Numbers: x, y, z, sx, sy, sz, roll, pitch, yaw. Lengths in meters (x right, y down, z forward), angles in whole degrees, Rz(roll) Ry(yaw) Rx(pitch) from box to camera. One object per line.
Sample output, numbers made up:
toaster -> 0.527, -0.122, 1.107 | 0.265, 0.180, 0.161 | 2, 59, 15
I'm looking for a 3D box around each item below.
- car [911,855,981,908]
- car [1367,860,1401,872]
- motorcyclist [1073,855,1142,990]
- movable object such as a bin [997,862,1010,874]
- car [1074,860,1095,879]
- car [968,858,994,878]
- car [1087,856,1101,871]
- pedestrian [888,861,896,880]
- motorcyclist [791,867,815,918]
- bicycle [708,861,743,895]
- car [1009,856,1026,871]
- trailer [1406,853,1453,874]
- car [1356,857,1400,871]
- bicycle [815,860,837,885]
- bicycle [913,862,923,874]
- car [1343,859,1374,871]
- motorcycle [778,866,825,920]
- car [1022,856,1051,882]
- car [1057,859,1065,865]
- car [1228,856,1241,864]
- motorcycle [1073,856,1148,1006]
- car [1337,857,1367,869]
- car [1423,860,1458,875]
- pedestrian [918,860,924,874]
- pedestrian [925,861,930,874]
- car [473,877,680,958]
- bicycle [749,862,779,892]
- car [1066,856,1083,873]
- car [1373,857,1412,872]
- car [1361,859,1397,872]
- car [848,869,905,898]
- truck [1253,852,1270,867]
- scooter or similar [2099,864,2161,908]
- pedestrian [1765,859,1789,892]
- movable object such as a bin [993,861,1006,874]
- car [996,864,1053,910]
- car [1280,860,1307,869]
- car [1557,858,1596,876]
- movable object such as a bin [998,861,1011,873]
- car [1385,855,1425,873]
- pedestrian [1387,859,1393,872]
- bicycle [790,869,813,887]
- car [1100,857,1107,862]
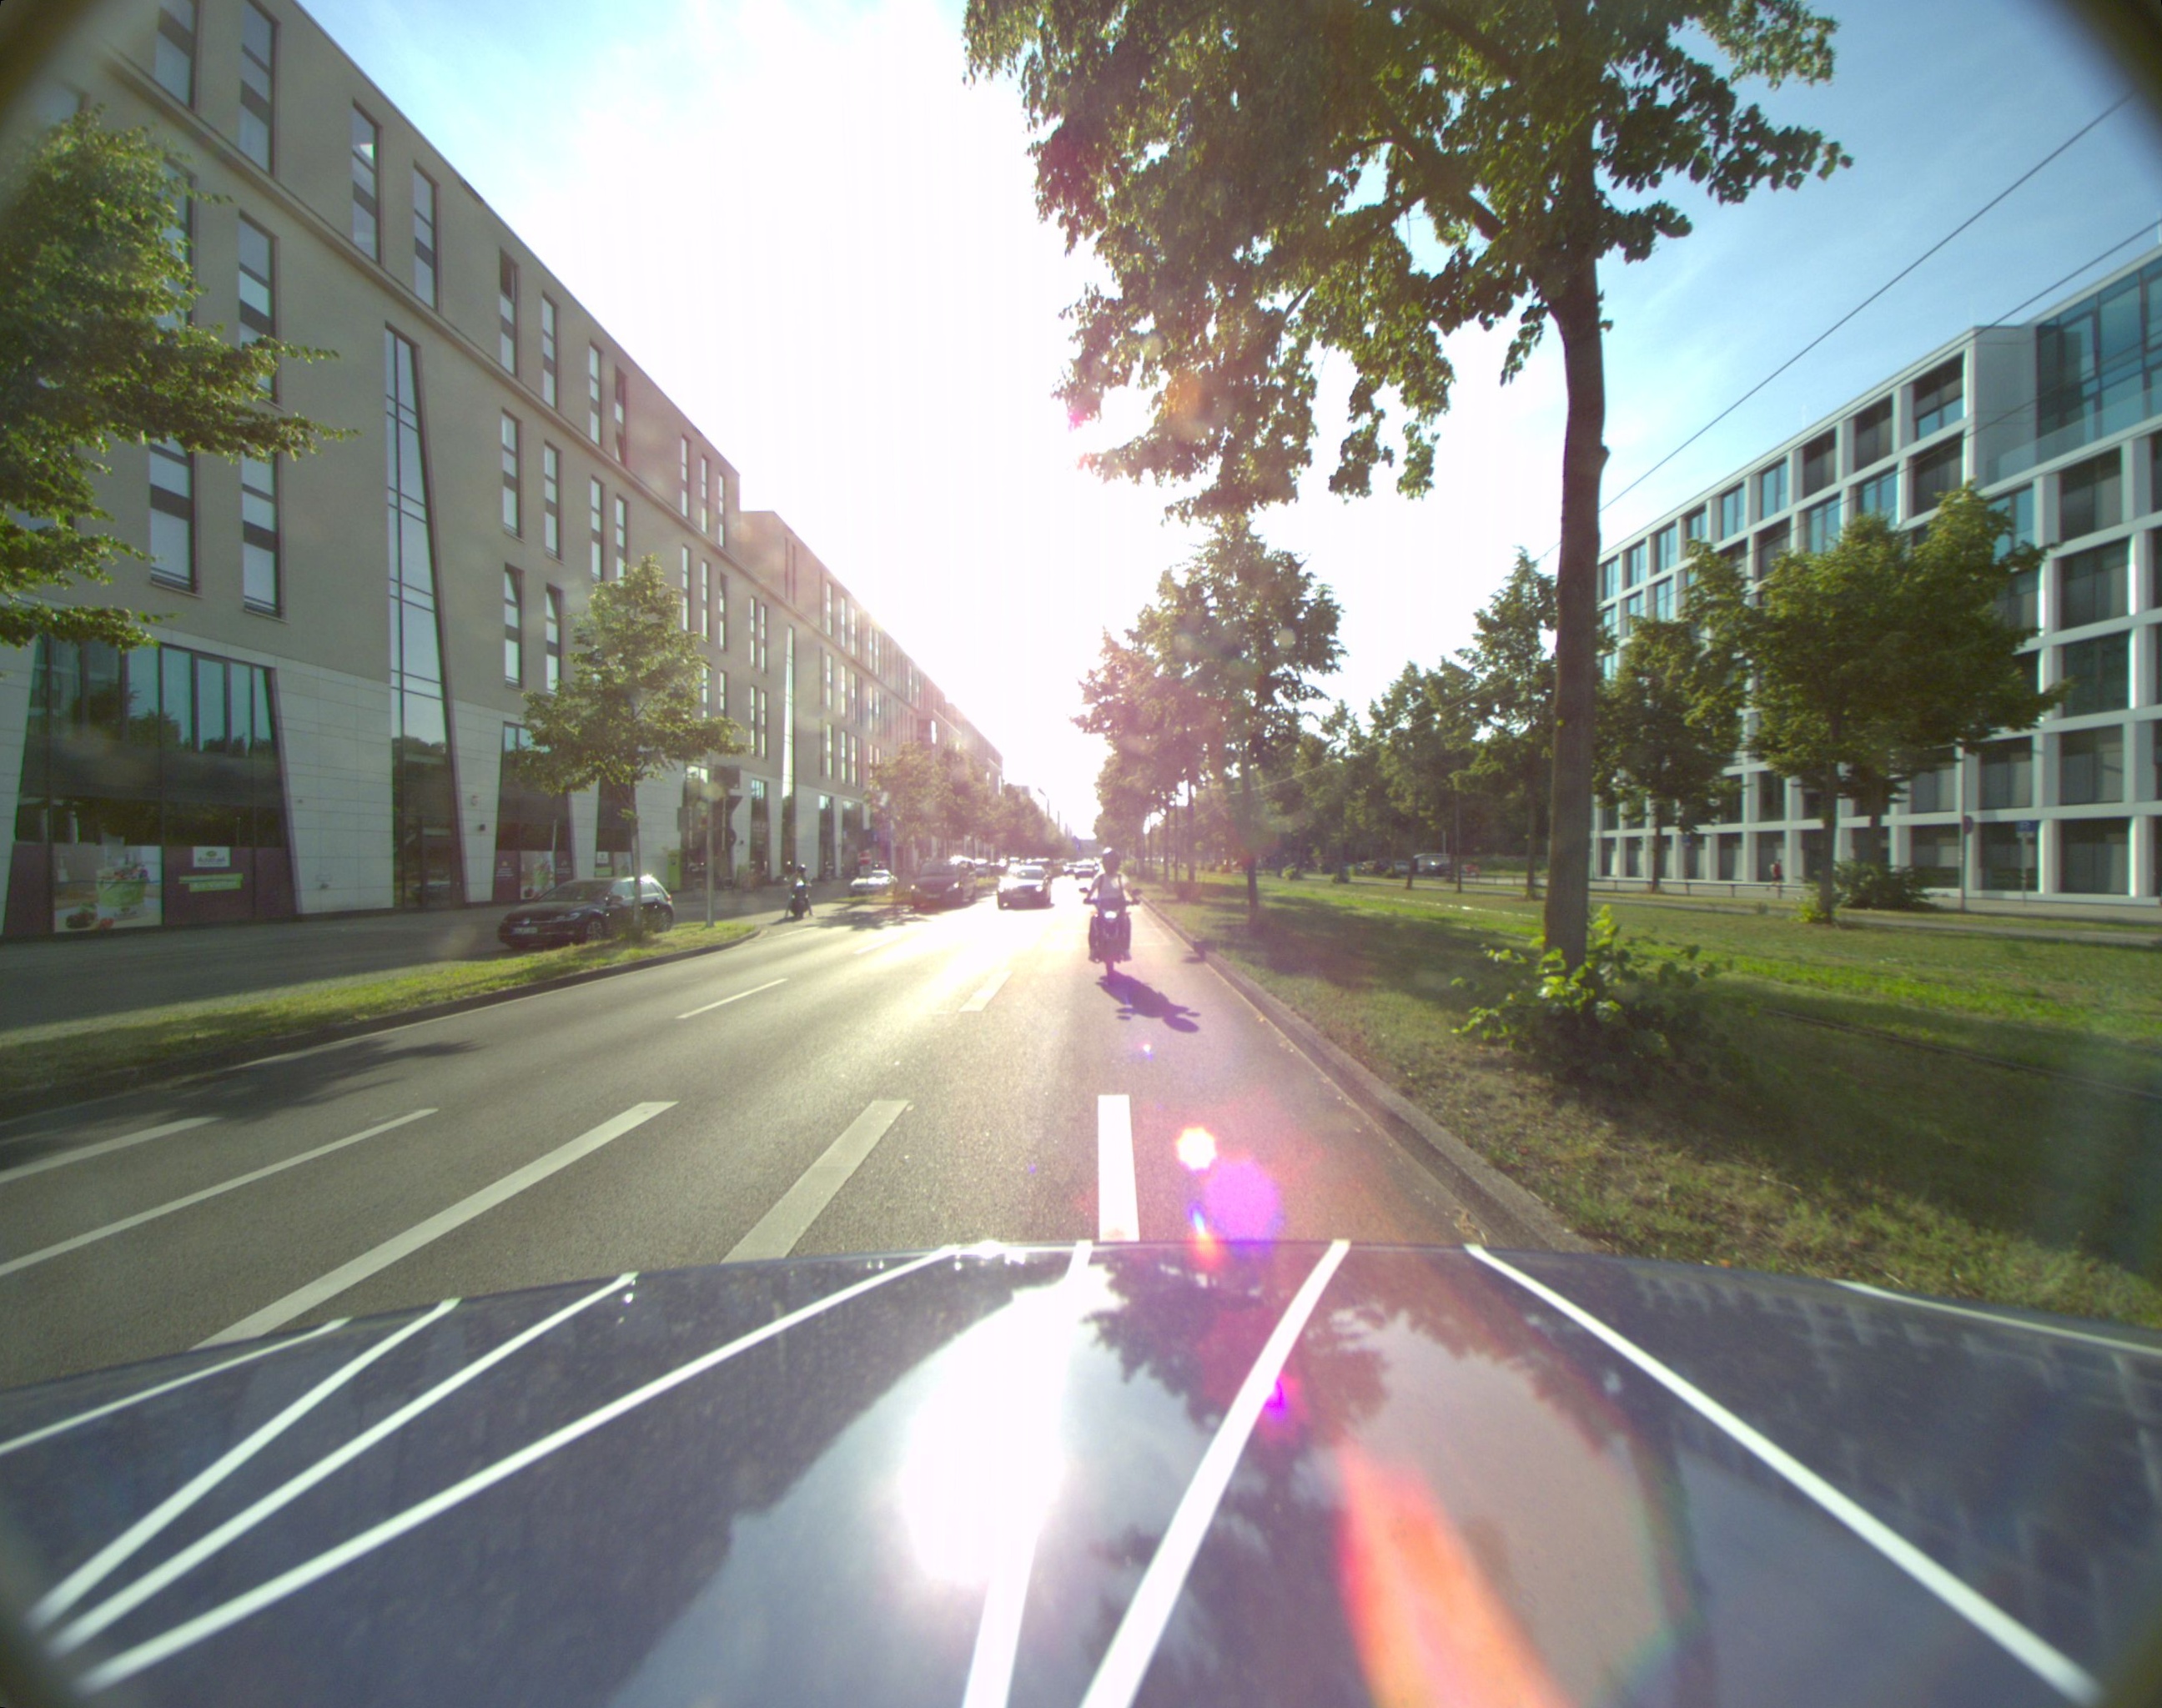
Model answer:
car -> -5.357, 1.031, 30.801 | 1.803, 1.880, 4.821 | -2, 0, 1
car -> 38.192, 1.494, 95.784 | 3.576, 1.417, 1.726 | -2, 1, 2
motorcyclist -> 0.343, 0.880, 10.132 | 0.814, 1.699, 0.843 | -2, 1, 0
movable object such as a bin -> -8.332, 1.515, 81.614 | 1.280, 1.229, 1.191 | -2, 1, -2
car -> 0.362, 1.355, 67.741 | 1.739, 1.499, 4.000 | -2, 0, 1
car -> -9.366, 1.262, 71.268 | 1.832, 1.701, 4.295 | -2, 0, 0
car -> 1.551, 1.121, 91.089 | 1.644, 1.553, 3.734 | -2, 0, 0
pedestrian -> -17.708, 1.558, 71.270 | 0.538, 1.752, 0.646 | -2, 1, 2
motorcyclist -> -8.977, 1.235, 24.514 | 0.625, 1.631, 0.417 | 0, 1, -2
bicycle -> -17.703, 1.179, 37.893 | 0.557, 1.562, 2.276 | -2, 1, 2
car -> -8.559, 1.211, 102.753 | 1.842, 1.865, 5.030 | -2, 0, -1
trailer -> 38.337, 1.051, 83.713 | 4.373, 2.042, 1.758 | -2, 1, 5
car -> 39.880, 1.319, 102.159 | 5.071, 1.725, 1.886 | -2, 1, 4
bicycle -> -17.336, 1.253, 51.712 | 0.557, 1.609, 2.212 | -2, 1, 2
bicycle -> -16.441, 1.386, 76.643 | 0.493, 1.109, 1.945 | 0, 1, 2
car -> 38.408, 1.500, 105.142 | 3.655, 1.420, 1.810 | -2, 1, 4
motorcycle -> -8.982, 1.230, 24.489 | 0.703, 1.608, 2.011 | -2, 1, -1
car -> -3.426, 1.116, 59.635 | 1.864, 1.856, 4.778 | -2, 0, 1
car -> -5.552, 2.210, 211.164 | 1.840, 1.521, 4.328 | -2, 0, 1
car -> 30.651, 1.216, 151.485 | 1.834, 1.423, 4.475 | -2, 0, 3
motorcycle -> 0.348, 0.886, 9.980 | 0.798, 1.659, 2.634 | -2, 1, 1
car -> 40.032, 1.327, 112.199 | 3.865, 1.477, 1.745 | -2, 1, 9
car -> 37.714, 1.415, 79.801 | 1.683, 1.385, 3.761 | -2, 0, -2
pedestrian -> -18.564, 1.508, 88.383 | 0.515, 1.513, 0.597 | -2, 1, 1
pedestrian -> -17.912, 1.589, 88.642 | 0.540, 1.565, 0.514 | -2, 1, -13
car -> -10.959, 1.308, 16.914 | 1.610, 1.362, 4.158 | -2, 0, 3
bicycle -> -17.308, 1.232, 41.491 | 0.557, 1.558, 2.212 | -2, 1, 2
car -> -0.764, 1.175, 86.516 | 1.777, 1.805, 4.000 | -2, 0, 0
car -> 37.940, 1.328, 92.608 | 4.001, 1.633, 1.758 | -2, 1, 2
car -> 39.197, 1.463, 99.903 | 3.996, 1.551, 1.856 | -2, 1, 4
car -> -10.275, 1.447, 38.397 | 1.712, 1.235, 3.905 | -2, 0, 1
truck -> 43.584, 1.227, 183.818 | 2.894, 3.495, 7.947 | -2, 0, 6
scooter or similar -> 36.928, 1.125, 26.547 | 1.933, 1.468, 0.415 | -2, 1, 5
pedestrian -> 37.119, 1.147, 40.527 | 0.569, 1.718, 0.691 | -2, 1, 1
movable object such as a bin -> -8.591, 1.399, 80.002 | 1.280, 1.284, 1.178 | -2, 1, -2
car -> -2.020, 1.162, 28.191 | 1.756, 1.427, 4.035 | -2, 0, 0
car -> 32.743, 1.618, 117.248 | 1.689, 1.427, 4.027 | -2, 1, -27
car -> 48.638, 1.228, 74.615 | 1.851, 1.586, 4.003 | -2, 0, 12
movable object such as a bin -> -8.366, 1.446, 82.951 | 1.280, 1.229, 1.191 | -2, 1, -2
car -> 38.186, 1.162, 89.572 | 4.001, 1.936, 1.758 | -2, 1, 2
pedestrian -> 36.485, 1.374, 89.751 | 0.523, 1.472, 0.568 | -2, 1, 1
bicycle -> -17.430, 1.463, 47.409 | 0.635, 1.077, 1.905 | 0, 0, 2
car -> 7.338, 1.820, 250.401 | 1.998, 1.736, 4.000 | -2, 0, 0
